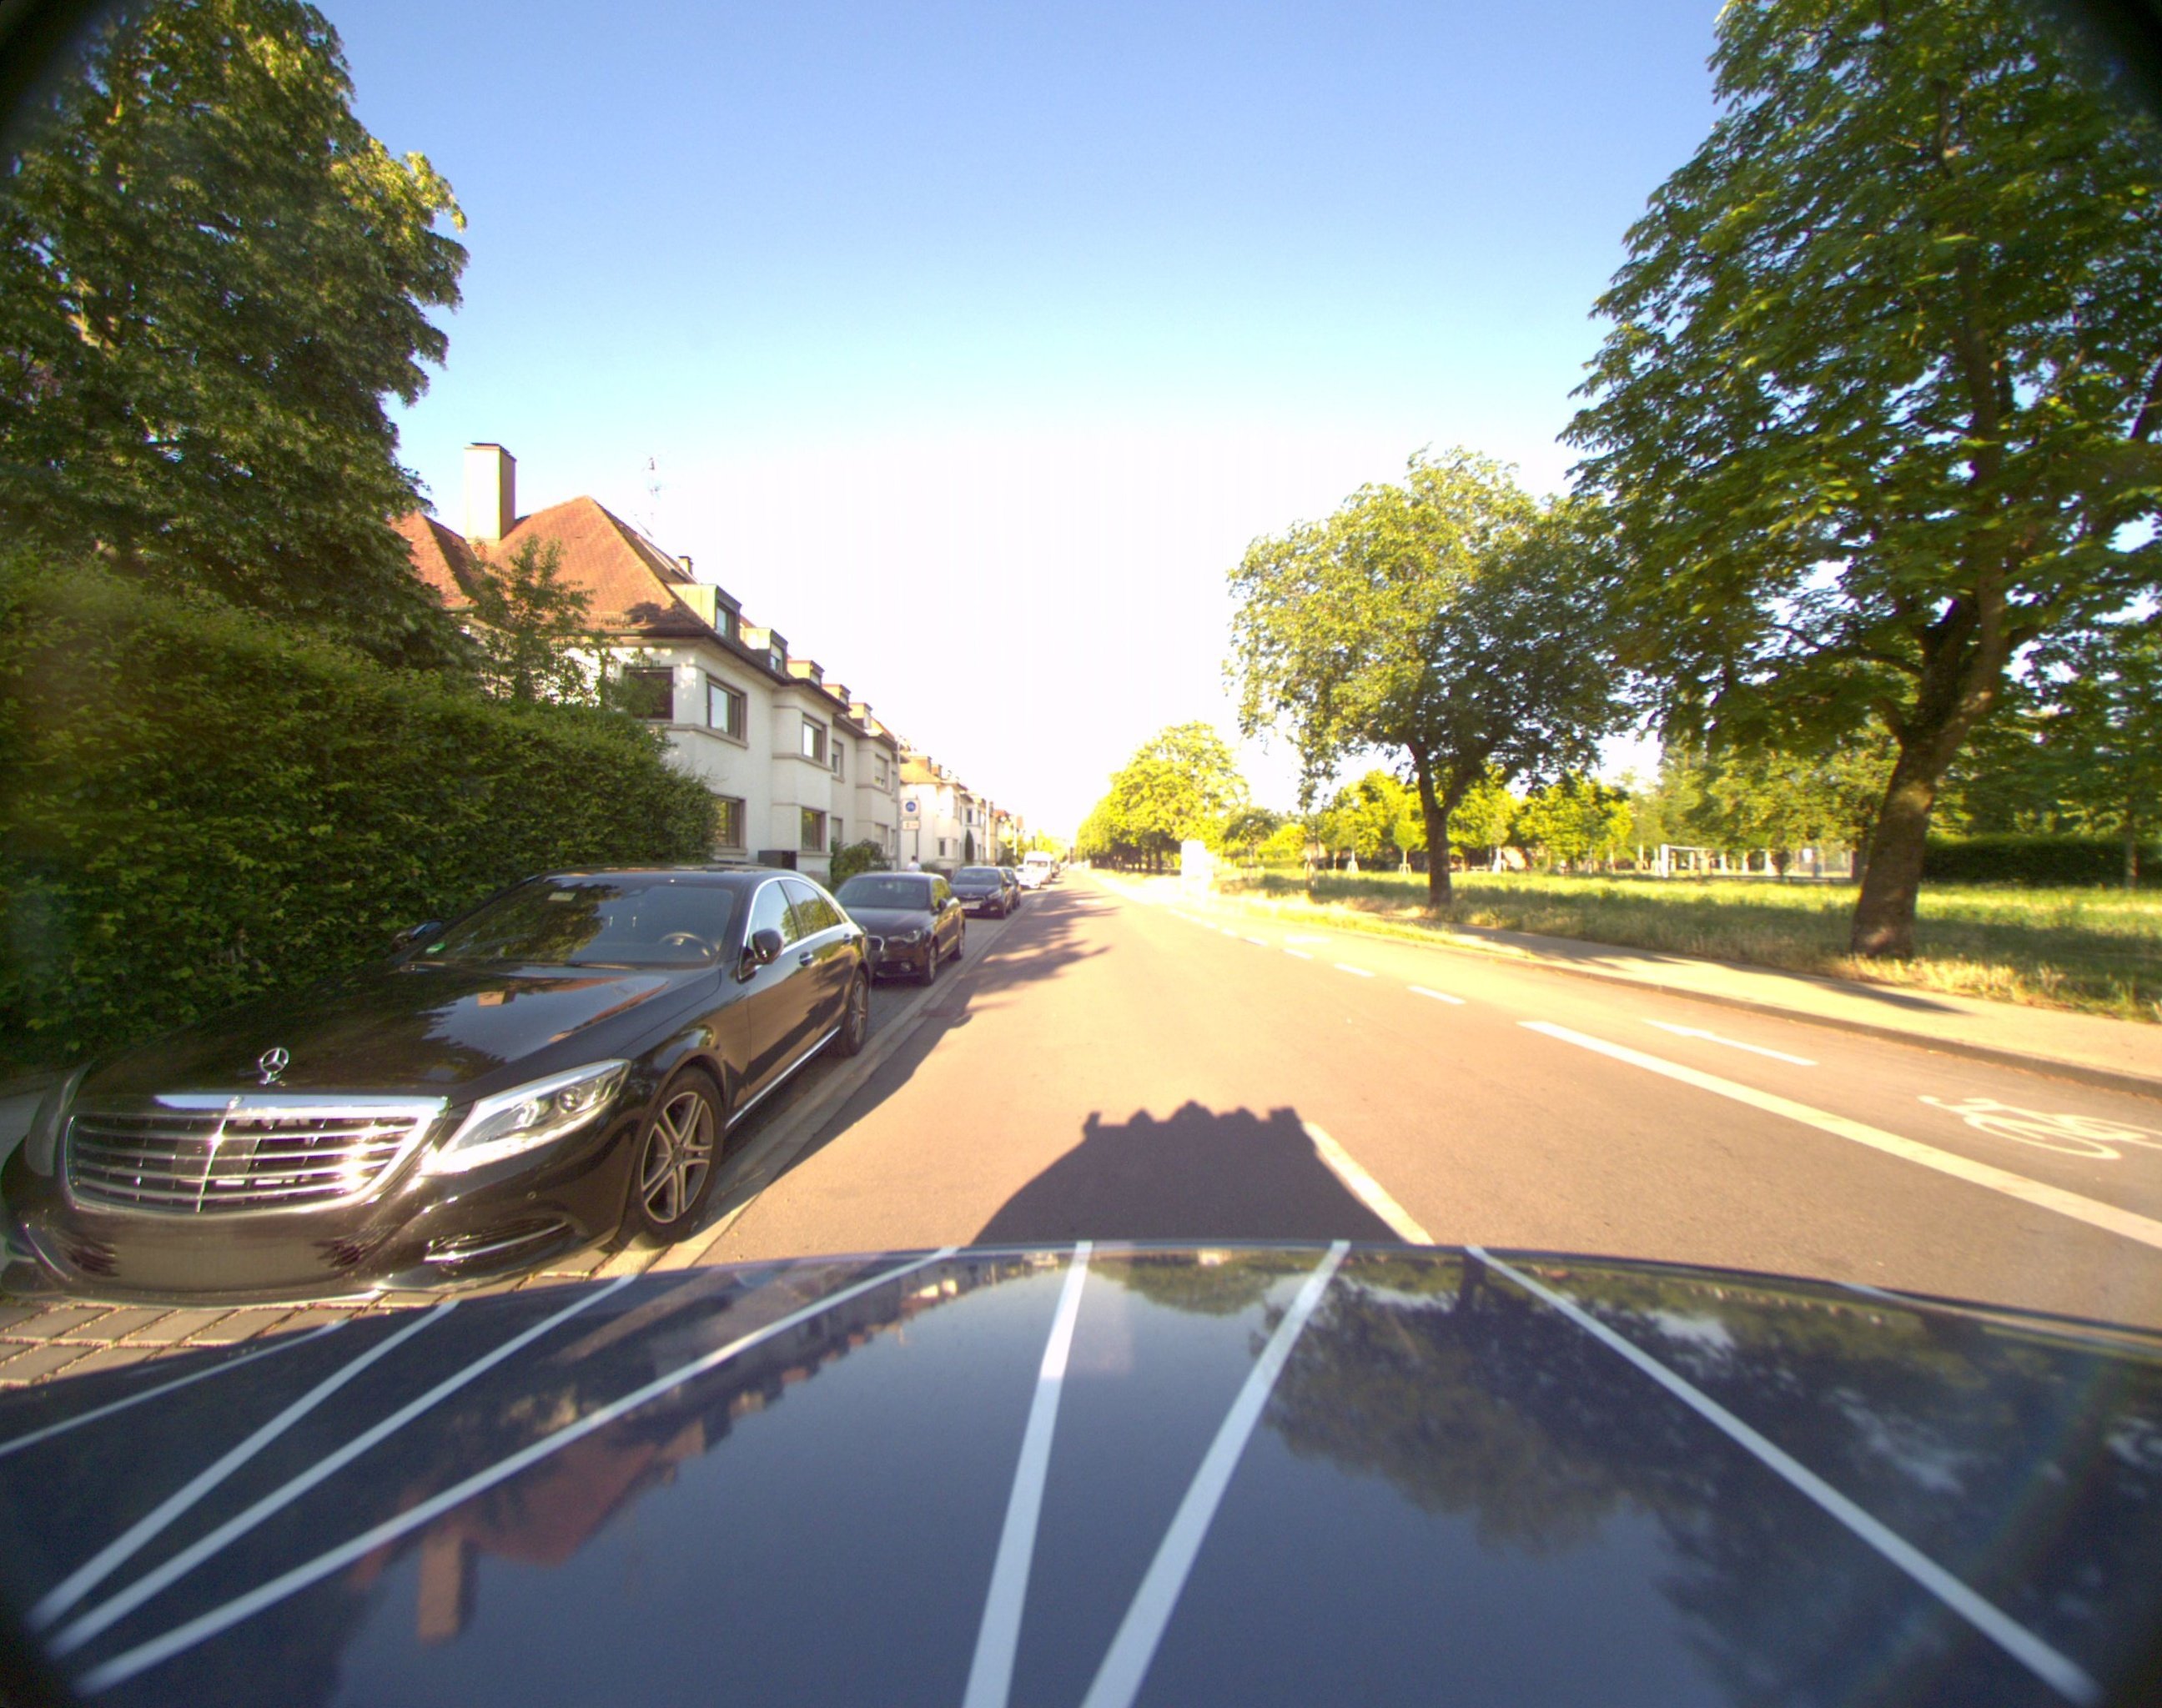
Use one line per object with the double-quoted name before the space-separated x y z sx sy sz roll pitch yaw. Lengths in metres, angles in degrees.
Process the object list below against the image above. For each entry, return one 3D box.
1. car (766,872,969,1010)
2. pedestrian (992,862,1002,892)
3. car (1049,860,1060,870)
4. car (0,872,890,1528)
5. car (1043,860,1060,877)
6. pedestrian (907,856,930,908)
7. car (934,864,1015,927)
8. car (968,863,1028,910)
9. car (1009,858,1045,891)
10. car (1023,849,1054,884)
"car" -2.753 1.050 10.780 1.784 1.469 4.000 -2 -1 -1
"pedestrian" -5.040 1.363 45.546 0.531 1.787 0.589 -2 1 -2
"car" -4.107 1.697 117.022 1.682 1.543 3.842 1 0 -3
"car" -2.603 0.919 4.309 2.009 1.489 4.914 2 -1 -3
"car" -3.447 1.708 89.190 1.708 1.848 3.712 -2 1 0
"pedestrian" -5.908 1.025 27.693 0.587 1.835 0.823 -2 1 1
"car" -2.988 1.124 22.055 1.796 1.586 4.077 -2 -1 -1
"car" -2.938 1.122 27.530 1.680 1.525 3.472 -2 -1 1
"car" -3.265 1.217 46.614 1.999 1.775 3.999 -2 1 -1
"car" -3.280 0.918 59.893 2.132 2.461 5.723 -2 1 -1
